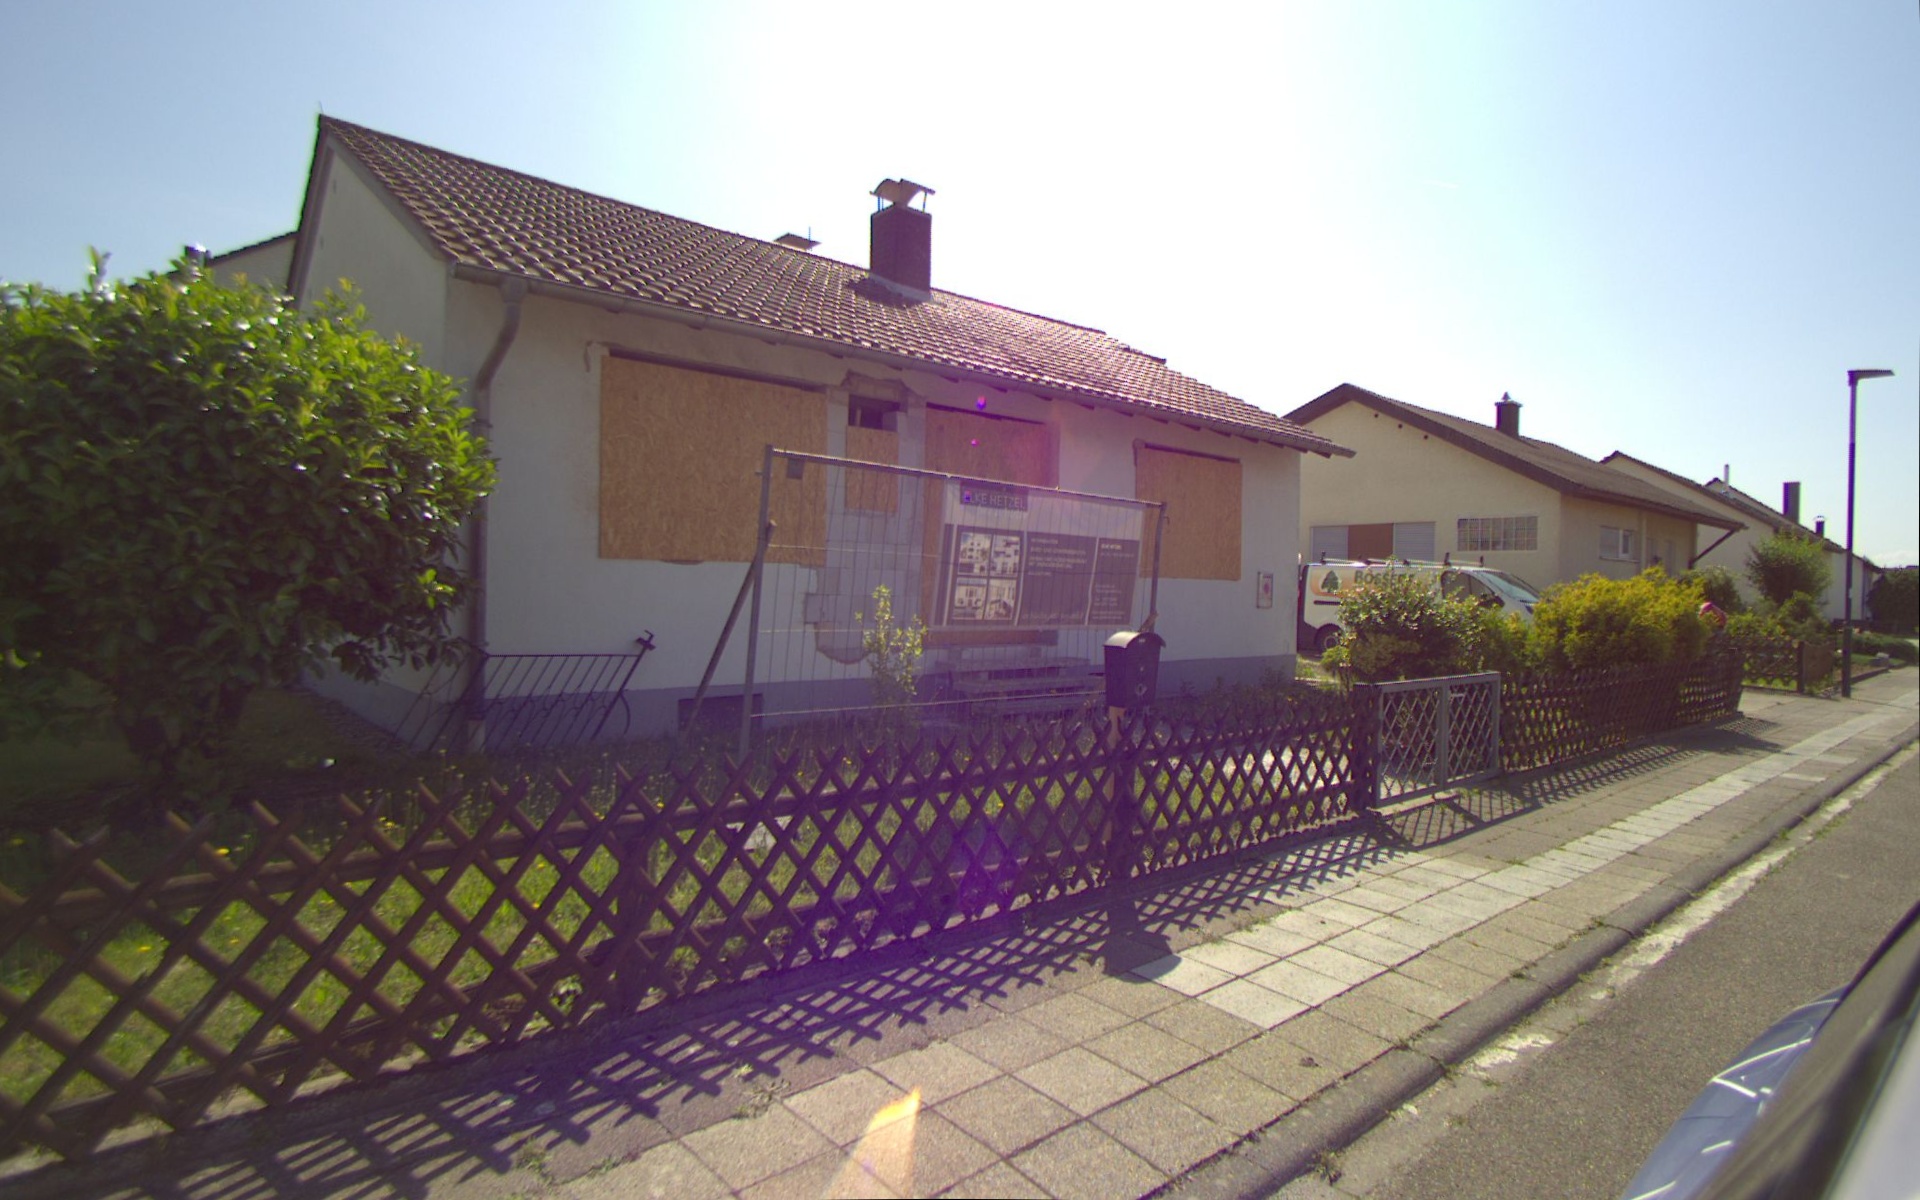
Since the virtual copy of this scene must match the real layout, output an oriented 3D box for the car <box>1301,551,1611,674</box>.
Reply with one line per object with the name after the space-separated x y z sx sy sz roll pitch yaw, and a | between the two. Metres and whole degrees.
9.253 0.133 19.315 1.834 2.039 5.009 0 1 -39 | car
